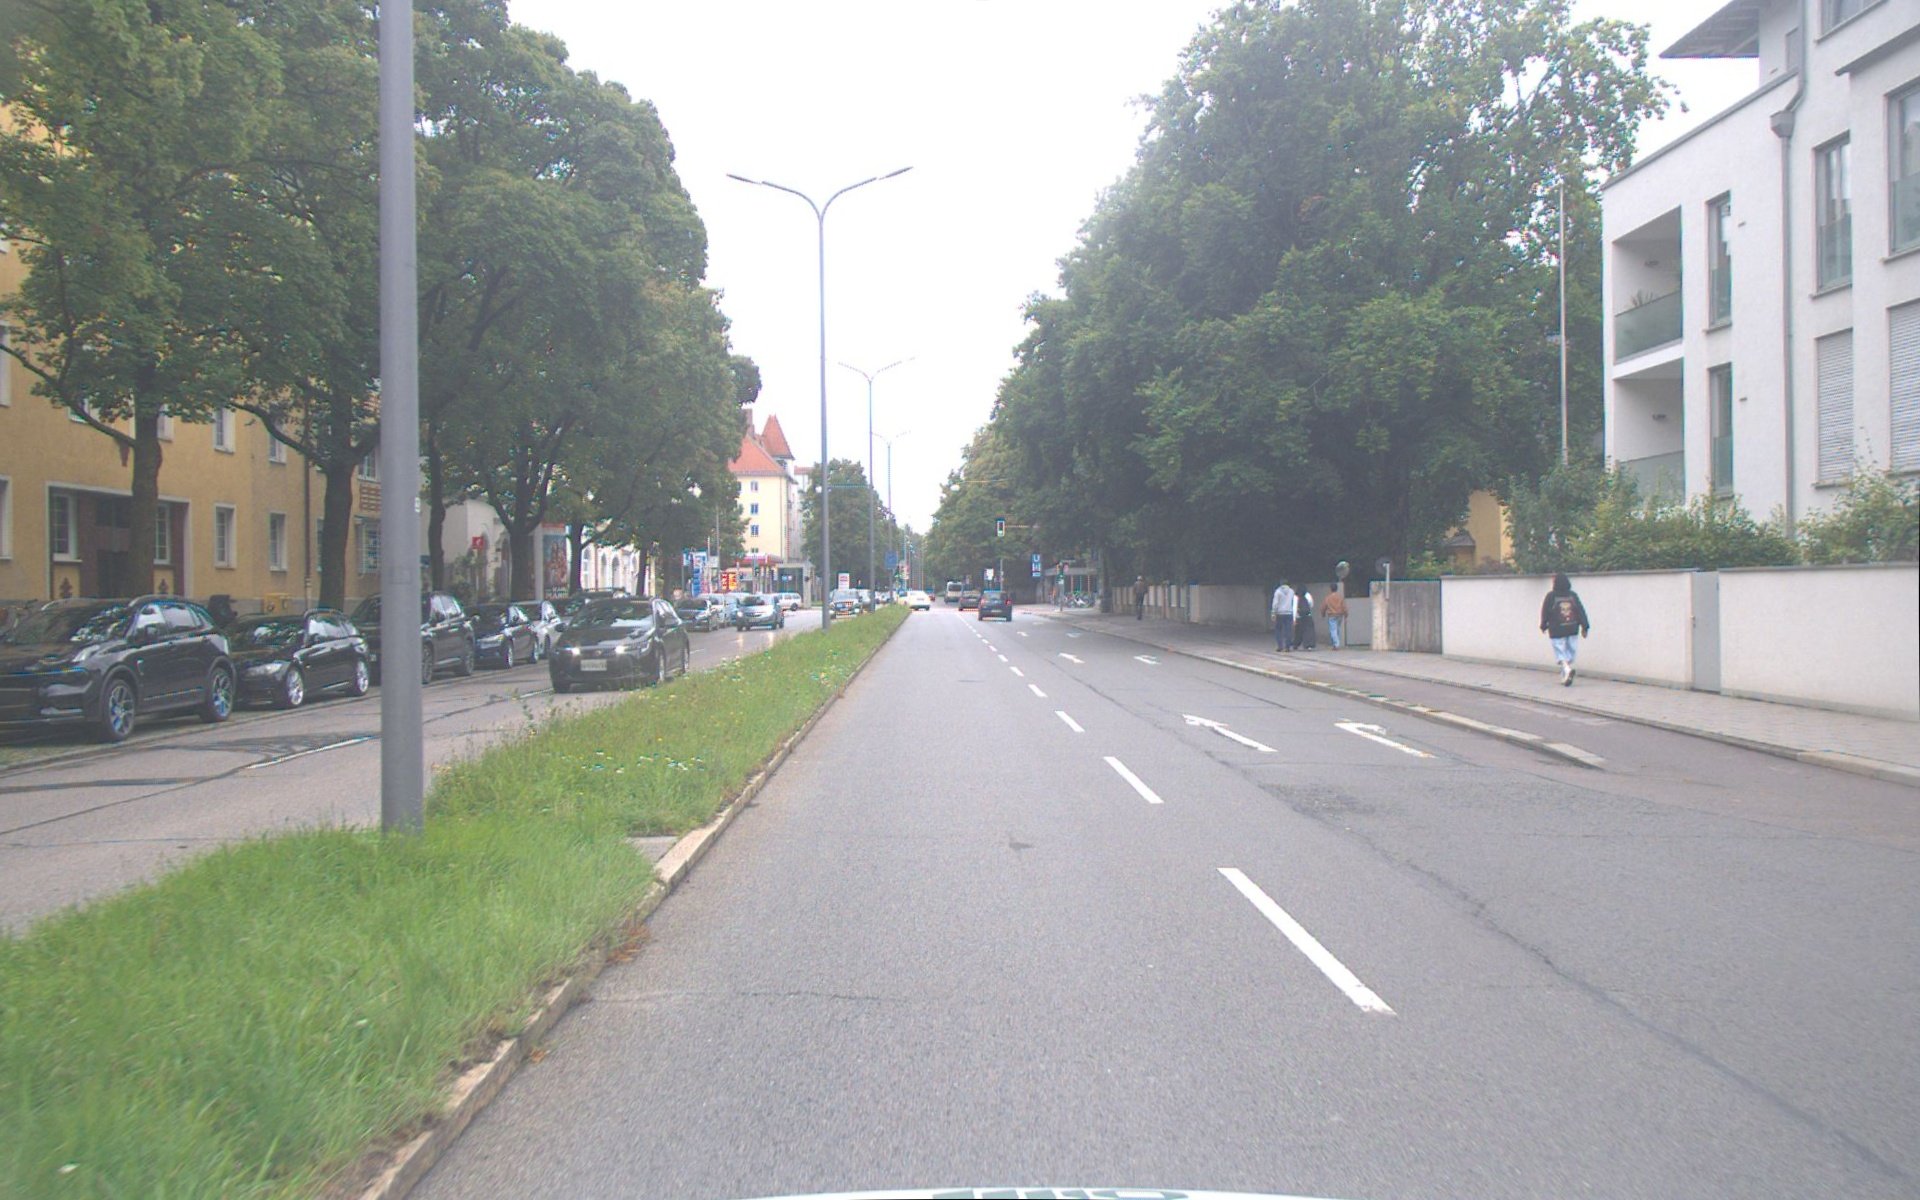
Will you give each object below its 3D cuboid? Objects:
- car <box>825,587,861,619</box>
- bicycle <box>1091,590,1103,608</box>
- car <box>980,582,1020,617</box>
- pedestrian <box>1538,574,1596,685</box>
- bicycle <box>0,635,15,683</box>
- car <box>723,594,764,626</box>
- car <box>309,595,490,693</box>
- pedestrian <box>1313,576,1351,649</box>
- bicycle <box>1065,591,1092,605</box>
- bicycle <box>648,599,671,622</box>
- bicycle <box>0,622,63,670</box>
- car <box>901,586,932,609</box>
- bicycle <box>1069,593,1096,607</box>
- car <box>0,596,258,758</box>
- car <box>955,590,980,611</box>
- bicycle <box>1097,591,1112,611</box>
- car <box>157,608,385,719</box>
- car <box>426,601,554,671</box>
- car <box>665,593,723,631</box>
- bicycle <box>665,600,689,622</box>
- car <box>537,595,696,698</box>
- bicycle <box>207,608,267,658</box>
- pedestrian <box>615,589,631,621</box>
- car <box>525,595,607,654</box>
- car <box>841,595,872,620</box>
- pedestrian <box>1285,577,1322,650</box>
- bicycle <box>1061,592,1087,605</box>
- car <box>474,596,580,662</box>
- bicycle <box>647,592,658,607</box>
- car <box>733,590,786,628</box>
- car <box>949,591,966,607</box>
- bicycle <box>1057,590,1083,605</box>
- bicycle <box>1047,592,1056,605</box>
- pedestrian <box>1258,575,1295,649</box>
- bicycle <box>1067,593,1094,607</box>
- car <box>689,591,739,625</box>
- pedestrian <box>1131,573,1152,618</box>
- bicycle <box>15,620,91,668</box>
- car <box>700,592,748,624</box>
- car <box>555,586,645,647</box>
[{"bbox_3d":[-6.593,0.170,93.528,1.733,1.708,4.368,-2,0,-1],"label":"car"},{"bbox_3d":[9.094,-0.049,109.961,0.587,1.141,1.889,-1,-1,-1],"label":"bicycle"},{"bbox_3d":[2.018,-0.026,84.471,1.819,1.713,3.999,-1,0,-1],"label":"car"},{"bbox_3d":[9.052,0.430,24.681,0.517,1.609,0.728,-3,0,-2],"label":"pedestrian"},{"bbox_3d":[-18.973,1.166,31.841,0.474,0.915,1.930,-1,0,-1],"label":"bicycle"},{"bbox_3d":[-11.298,0.479,86.539,1.615,1.612,3.790,-1,0,1],"label":"car"},{"bbox_3d":[-10.456,0.763,31.249,1.840,1.674,4.769,-1,0,-1],"label":"car"},{"bbox_3d":[9.028,0.297,40.151,0.653,1.735,0.766,-3,0,-2],"label":"pedestrian"},{"bbox_3d":[9.495,-0.125,132.306,2.097,1.089,0.603,-1,0,7],"label":"bicycle"},{"bbox_3d":[-15.351,0.518,84.385,0.453,1.135,1.944,-1,0,-32],"label":"bicycle"},{"bbox_3d":[-19.119,0.920,33.814,0.530,0.915,1.930,-1,0,-1],"label":"bicycle"},{"bbox_3d":[-3.272,-0.168,123.762,1.746,1.675,4.771,-1,0,-9],"label":"car"},{"bbox_3d":[9.727,-0.004,131.505,2.097,1.032,0.634,-1,0,7],"label":"bicycle"},{"bbox_3d":[-10.375,0.831,20.099,1.835,1.716,4.438,-1,0,-1],"label":"car"},{"bbox_3d":[0.568,0.000,120.740,1.743,1.499,3.892,0,0,-1],"label":"car"},{"bbox_3d":[8.286,0.072,94.800,0.609,1.109,2.025,-1,0,-1],"label":"bicycle"},{"bbox_3d":[-10.410,0.894,25.364,1.658,1.480,4.492,-1,0,-1],"label":"car"},{"bbox_3d":[-10.504,0.764,37.263,1.691,1.430,4.362,-1,0,-1],"label":"car"},{"bbox_3d":[-11.298,0.474,70.451,1.774,1.533,4.644,-1,0,-1],"label":"car"},{"bbox_3d":[-14.624,0.547,85.515,0.542,1.135,1.860,-1,0,-32],"label":"bicycle"},{"bbox_3d":[-5.588,0.704,27.422,1.774,1.533,4.322,-1,0,-1],"label":"car"},{"bbox_3d":[-18.898,0.838,43.264,0.754,1.243,1.930,-1,0,-1],"label":"bicycle"},{"bbox_3d":[-17.955,0.261,88.152,0.585,1.726,0.937,-1,0,-28],"label":"pedestrian"},{"bbox_3d":[-11.048,0.664,46.523,1.692,1.585,3.008,-1,0,-3],"label":"car"},{"bbox_3d":[-7.209,0.530,115.542,1.837,1.612,4.620,-3,0,-1],"label":"car"},{"bbox_3d":[8.341,0.322,40.167,0.653,1.722,0.728,-3,0,-2],"label":"pedestrian"},{"bbox_3d":[9.210,-0.097,133.671,2.097,1.032,0.603,-1,0,7],"label":"bicycle"},{"bbox_3d":[-11.091,0.713,42.582,1.691,1.589,4.056,-1,0,-1],"label":"car"},{"bbox_3d":[-20.151,-0.028,108.354,0.463,0.998,1.545,-1,0,-1],"label":"bicycle"},{"bbox_3d":[-8.459,0.355,70.114,1.774,1.533,4.056,-2,0,-1],"label":"car"},{"bbox_3d":[-0.294,-0.157,195.621,1.953,1.787,3.999,-1,0,-2],"label":"car"},{"bbox_3d":[9.017,-0.184,135.135,2.097,1.199,0.603,-1,0,7],"label":"bicycle"},{"bbox_3d":[7.776,-0.145,139.929,0.545,1.032,2.014,-1,0,-3],"label":"bicycle"},{"bbox_3d":[7.665,0.288,40.104,0.653,1.752,0.728,-3,0,-2],"label":"pedestrian"},{"bbox_3d":[9.548,0.011,130.924,2.097,1.032,0.603,-1,0,7],"label":"bicycle"},{"bbox_3d":[-11.395,0.357,76.963,1.774,1.533,3.959,-1,0,-1],"label":"car"},{"bbox_3d":[8.084,-0.213,73.734,0.762,1.976,0.802,-2,0,-1],"label":"pedestrian"},{"bbox_3d":[-18.530,0.884,33.830,0.530,0.915,1.930,-1,0,-1],"label":"bicycle"},{"bbox_3d":[-11.534,0.375,81.180,1.774,1.533,4.290,-1,0,-1],"label":"car"},{"bbox_3d":[-11.035,0.463,50.945,1.773,1.758,4.766,-1,0,-1],"label":"car"}]
